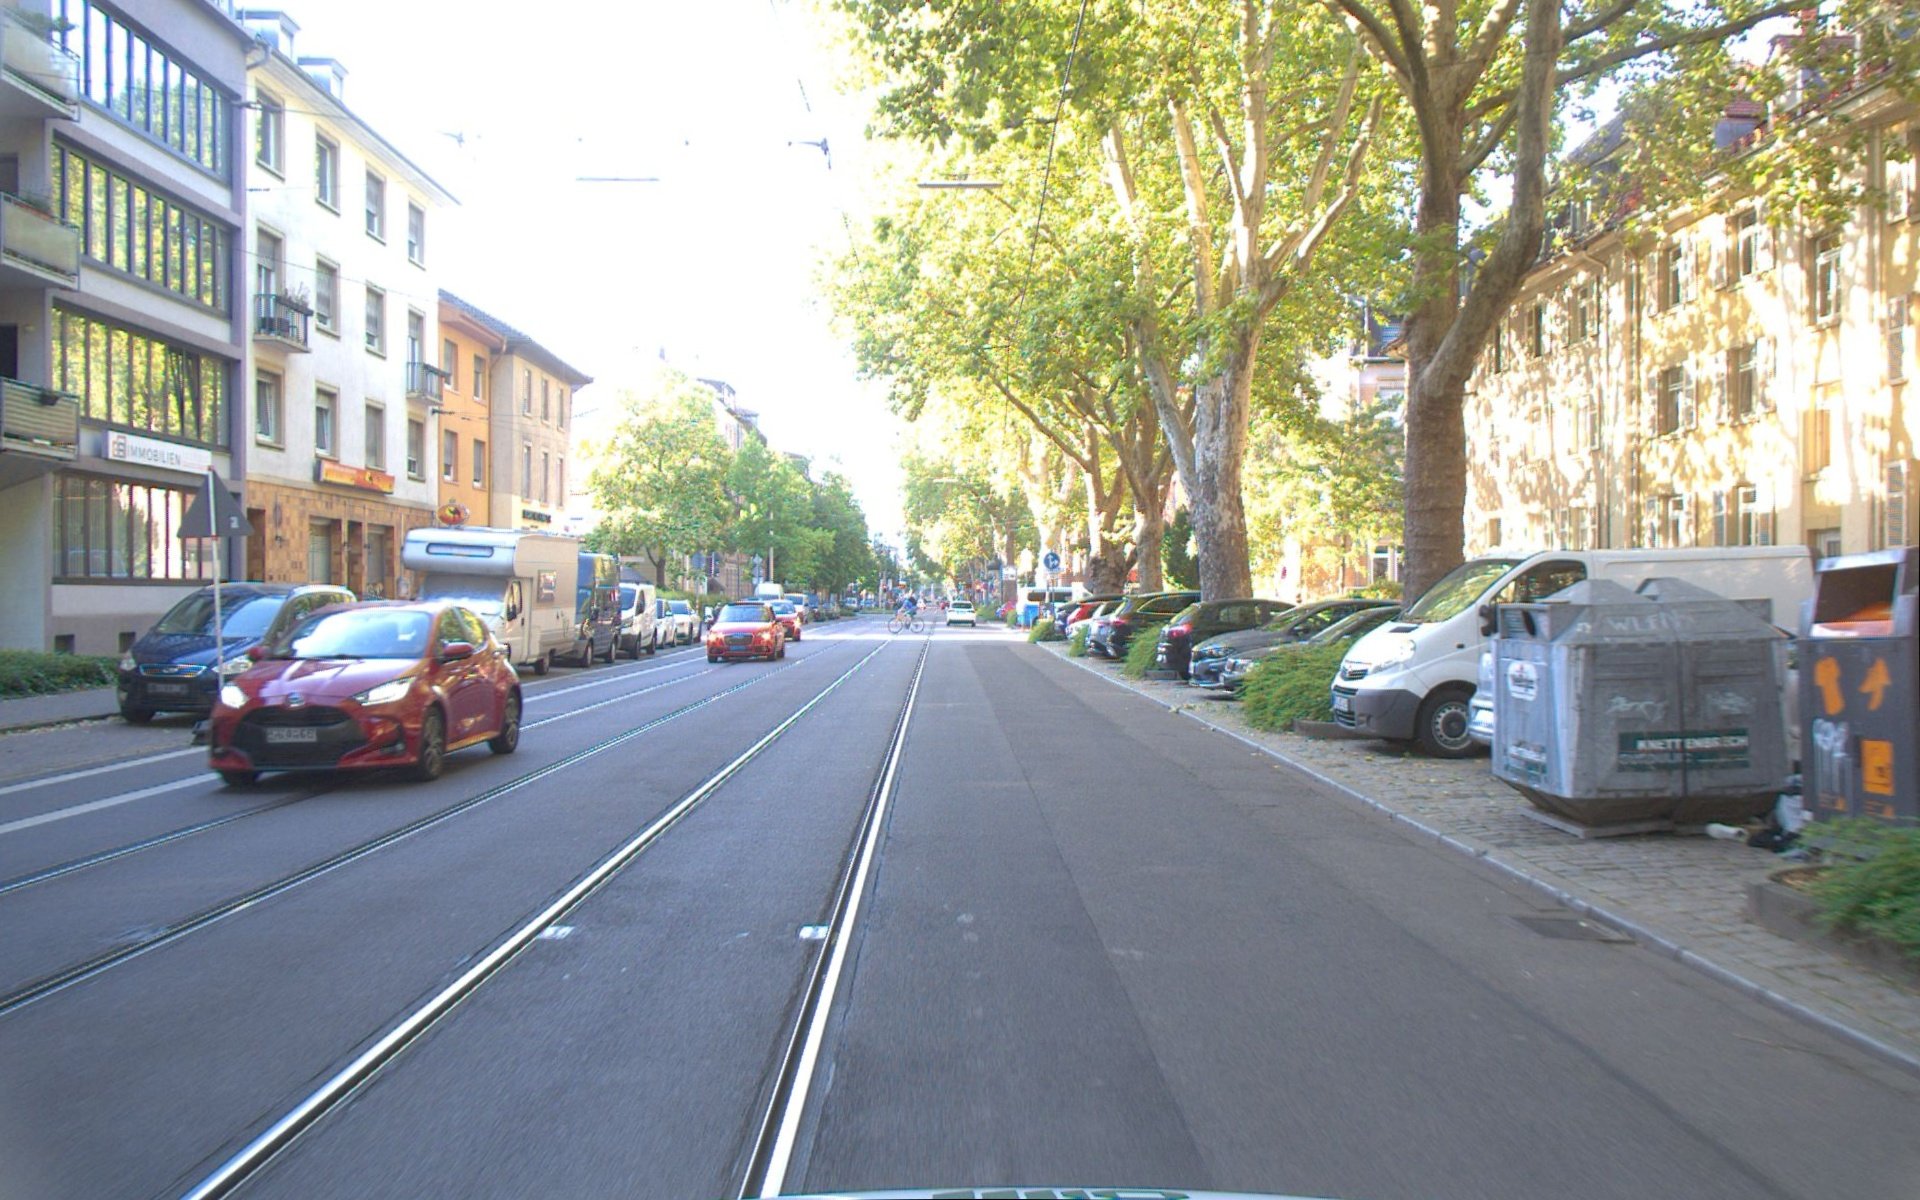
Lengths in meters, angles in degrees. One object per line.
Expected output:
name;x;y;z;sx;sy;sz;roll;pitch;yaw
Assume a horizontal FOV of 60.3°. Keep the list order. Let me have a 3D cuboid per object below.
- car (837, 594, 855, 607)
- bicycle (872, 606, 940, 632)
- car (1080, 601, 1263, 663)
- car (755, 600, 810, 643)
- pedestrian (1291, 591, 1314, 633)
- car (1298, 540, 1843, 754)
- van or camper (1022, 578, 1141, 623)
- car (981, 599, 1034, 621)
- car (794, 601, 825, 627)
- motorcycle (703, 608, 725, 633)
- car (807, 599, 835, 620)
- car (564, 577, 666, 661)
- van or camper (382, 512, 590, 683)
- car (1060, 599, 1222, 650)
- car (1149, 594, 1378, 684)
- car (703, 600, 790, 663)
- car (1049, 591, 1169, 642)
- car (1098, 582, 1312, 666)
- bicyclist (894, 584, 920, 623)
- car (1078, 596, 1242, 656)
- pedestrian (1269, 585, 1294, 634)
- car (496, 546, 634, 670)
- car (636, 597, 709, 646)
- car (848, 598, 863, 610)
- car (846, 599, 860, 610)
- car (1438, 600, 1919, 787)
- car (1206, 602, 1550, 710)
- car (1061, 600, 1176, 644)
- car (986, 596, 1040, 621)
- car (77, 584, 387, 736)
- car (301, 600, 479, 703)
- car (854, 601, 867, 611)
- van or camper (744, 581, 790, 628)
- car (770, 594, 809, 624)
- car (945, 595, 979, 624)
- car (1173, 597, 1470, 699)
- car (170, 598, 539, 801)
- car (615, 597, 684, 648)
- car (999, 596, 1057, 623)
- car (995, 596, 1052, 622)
car;-12.911;0.020;187.162;1.880;1.443;3.719;0;0;-3
bicycle;-2.405;0.844;73.770;2.894;1.124;1.049;0;0;-10
car;5.144;0.759;40.563;4.209;1.464;1.947;0;0;-2
car;-6.486;0.771;60.886;1.629;1.505;3.950;-1;0;-1
pedestrian;12.188;0.436;58.825;0.648;1.480;0.821;0;0;-1
car;5.999;0.434;16.655;4.740;1.997;2.064;0;0;-3
van or camper;5.860;-0.003;79.994;5.447;2.048;2.242;0;3;-5
car;3.504;0.737;122.426;3.905;1.547;2.000;0;0;-1
car;-11.175;1.016;122.874;1.953;1.893;4.178;0;0;-1
motorcycle;-11.964;0.979;80.426;0.748;1.126;2.329;0;2;-1
car;-11.638;0.776;138.792;1.953;1.775;4.658;0;0;-1
car;-9.698;0.477;46.874;1.913;2.128;5.246;3;1;-3
van or camper;-9.604;-0.057;34.205;2.290;3.094;6.397;3;0;0
car;5.320;0.719;48.957;4.591;1.472;1.892;0;0;-1
car;5.344;0.673;29.455;3.760;1.536;1.710;0;0;-1
car;-5.310;0.749;41.547;1.688;1.462;4.068;-1;0;-1
car;5.022;0.551;56.045;3.845;1.699;1.960;0;0;-3
car;5.268;0.513;36.088;4.402;1.630;2.028;-2;0;3
bicyclist;-2.371;0.164;73.780;1.027;1.735;1.055;0;0;-10
car;5.154;0.663;43.027;4.057;1.535;1.796;0;0;-1
pedestrian;11.617;0.346;59.830;0.745;1.769;0.821;0;0;-1
car;-9.637;0.176;40.818;2.044;2.779;5.308;3;0;-1
car;-9.924;0.714;57.411;1.799;1.494;5.067;3;0;-3
car;-14.157;0.572;223.611;1.881;1.443;3.586;-2;-1;-6
car;-14.162;0.556;219.365;1.880;1.443;3.588;0;0;-3
car;6.046;0.741;14.065;3.456;1.472;1.672;0;0;-4
car;5.619;0.743;22.670;4.304;1.404;1.805;0;0;3
car;5.135;0.707;53.823;3.575;1.402;1.889;0;0;0
car;3.838;0.613;120.125;3.905;1.816;2.000;0;0;-1
car;-9.337;0.685;21.773;1.913;1.716;5.069;2;0;-2
car;-9.435;0.796;27.699;1.676;1.514;3.861;3;0;-2
car;-14.488;0.895;241.453;1.880;1.443;3.588;0;0;-3
van or camper;-10.927;0.246;93.790;2.037;2.577;5.317;0;0;-1
car;-11.144;0.592;108.462;2.129;1.893;4.658;0;0;-1
car;0.113;0.516;96.327;1.879;1.612;3.790;-1;0;-1
car;5.505;0.707;25.550;4.161;1.509;1.897;0;0;-1
car;-5.105;0.746;14.600;1.739;1.483;4.201;-1;0;-1
car;-9.891;0.702;52.932;1.539;1.553;3.041;1;0;1
car;4.705;0.642;114.592;3.905;1.816;2.000;0;0;-1
car;4.462;0.647;116.871;3.905;1.816;2.000;0;0;-1
